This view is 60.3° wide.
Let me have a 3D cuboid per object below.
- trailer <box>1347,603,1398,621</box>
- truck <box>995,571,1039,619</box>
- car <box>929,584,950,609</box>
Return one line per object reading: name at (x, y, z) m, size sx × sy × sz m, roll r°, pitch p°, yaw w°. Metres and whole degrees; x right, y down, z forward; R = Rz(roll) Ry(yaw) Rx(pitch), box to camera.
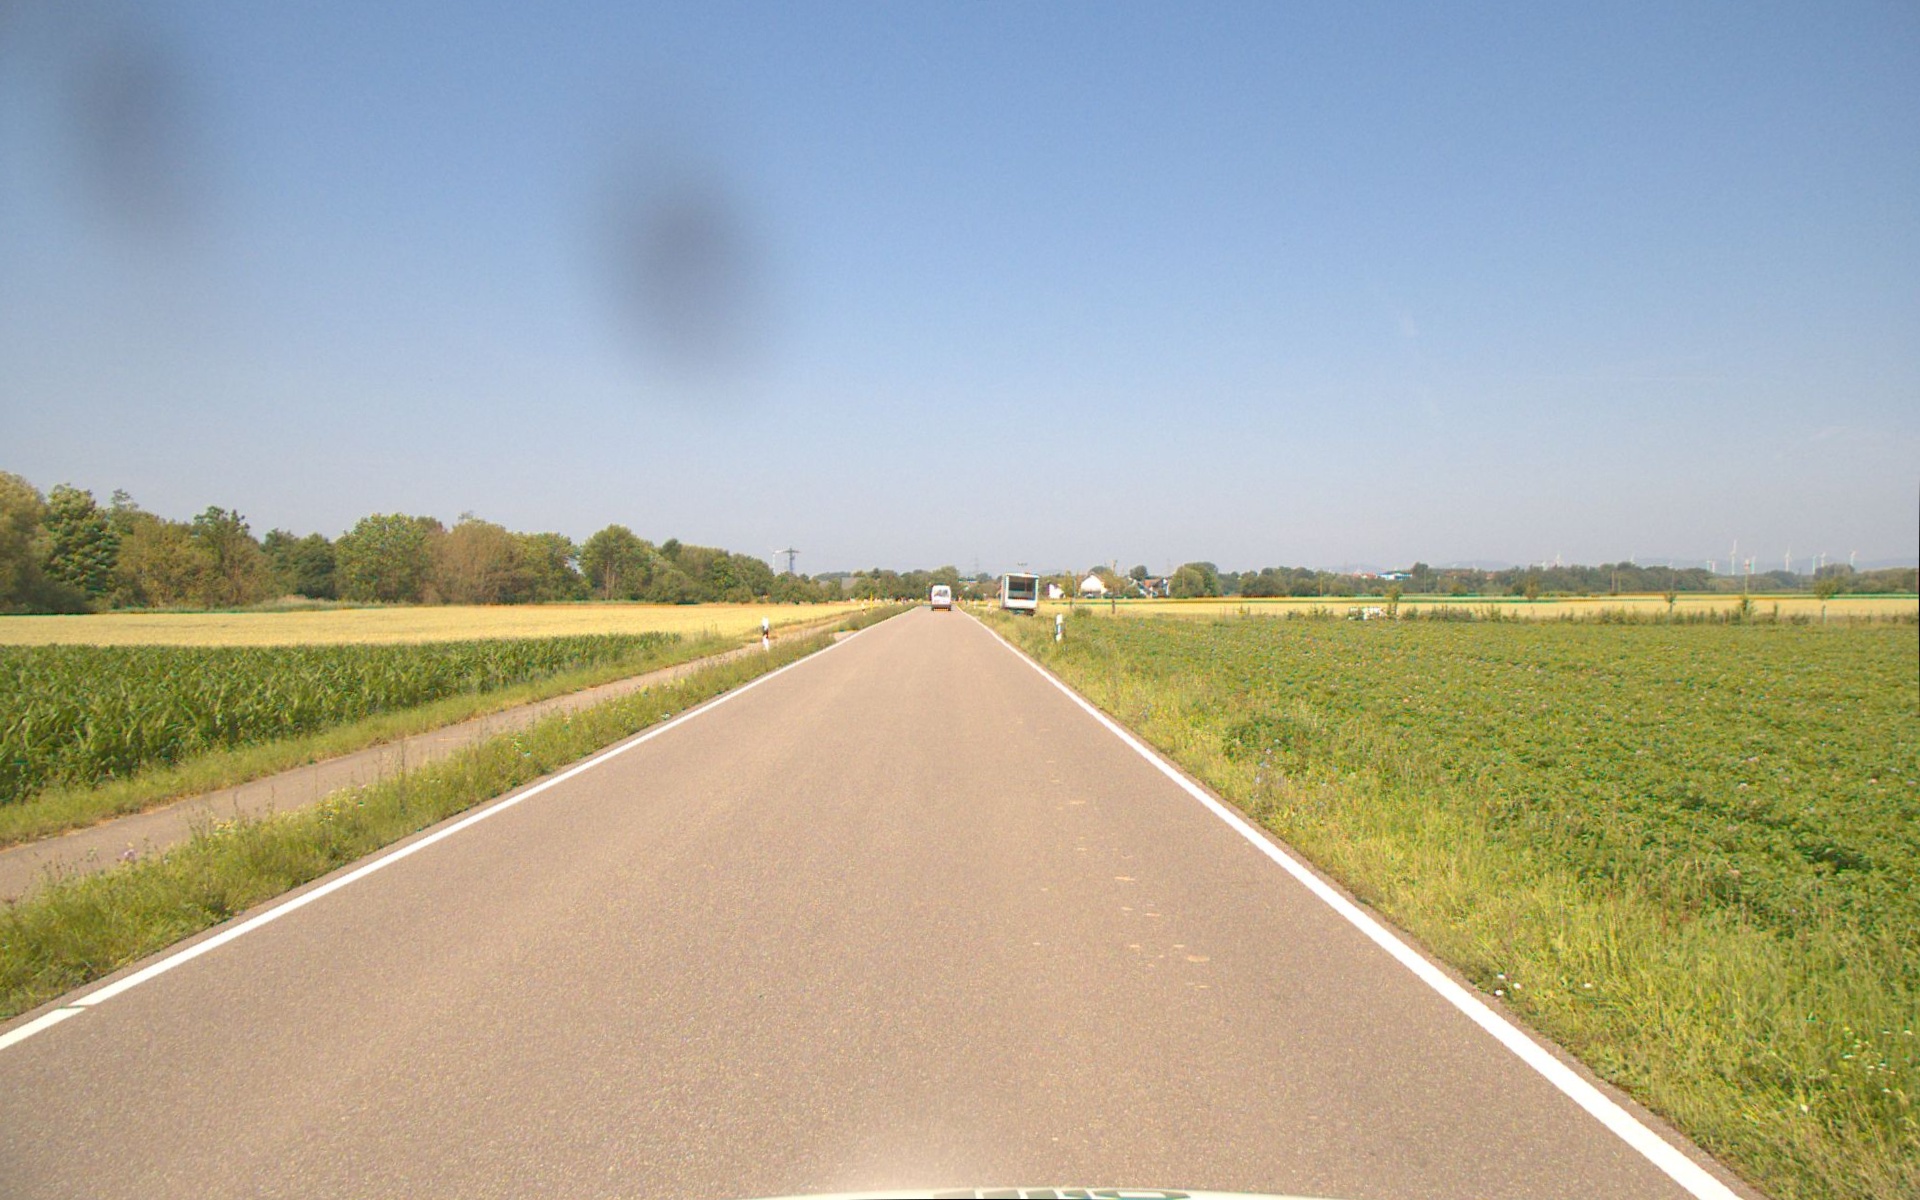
trailer at (30.282, 0.893, 121.473) m, size 3.508 × 1.210 × 1.665 m, roll 1°, pitch 0°, yaw 11°
truck at (3.741, -0.327, 110.303) m, size 2.289 × 2.994 × 7.005 m, roll 3°, pitch 0°, yaw -3°
car at (-2.091, -0.346, 167.062) m, size 2.064 × 2.344 × 5.494 m, roll 1°, pitch 0°, yaw -1°
